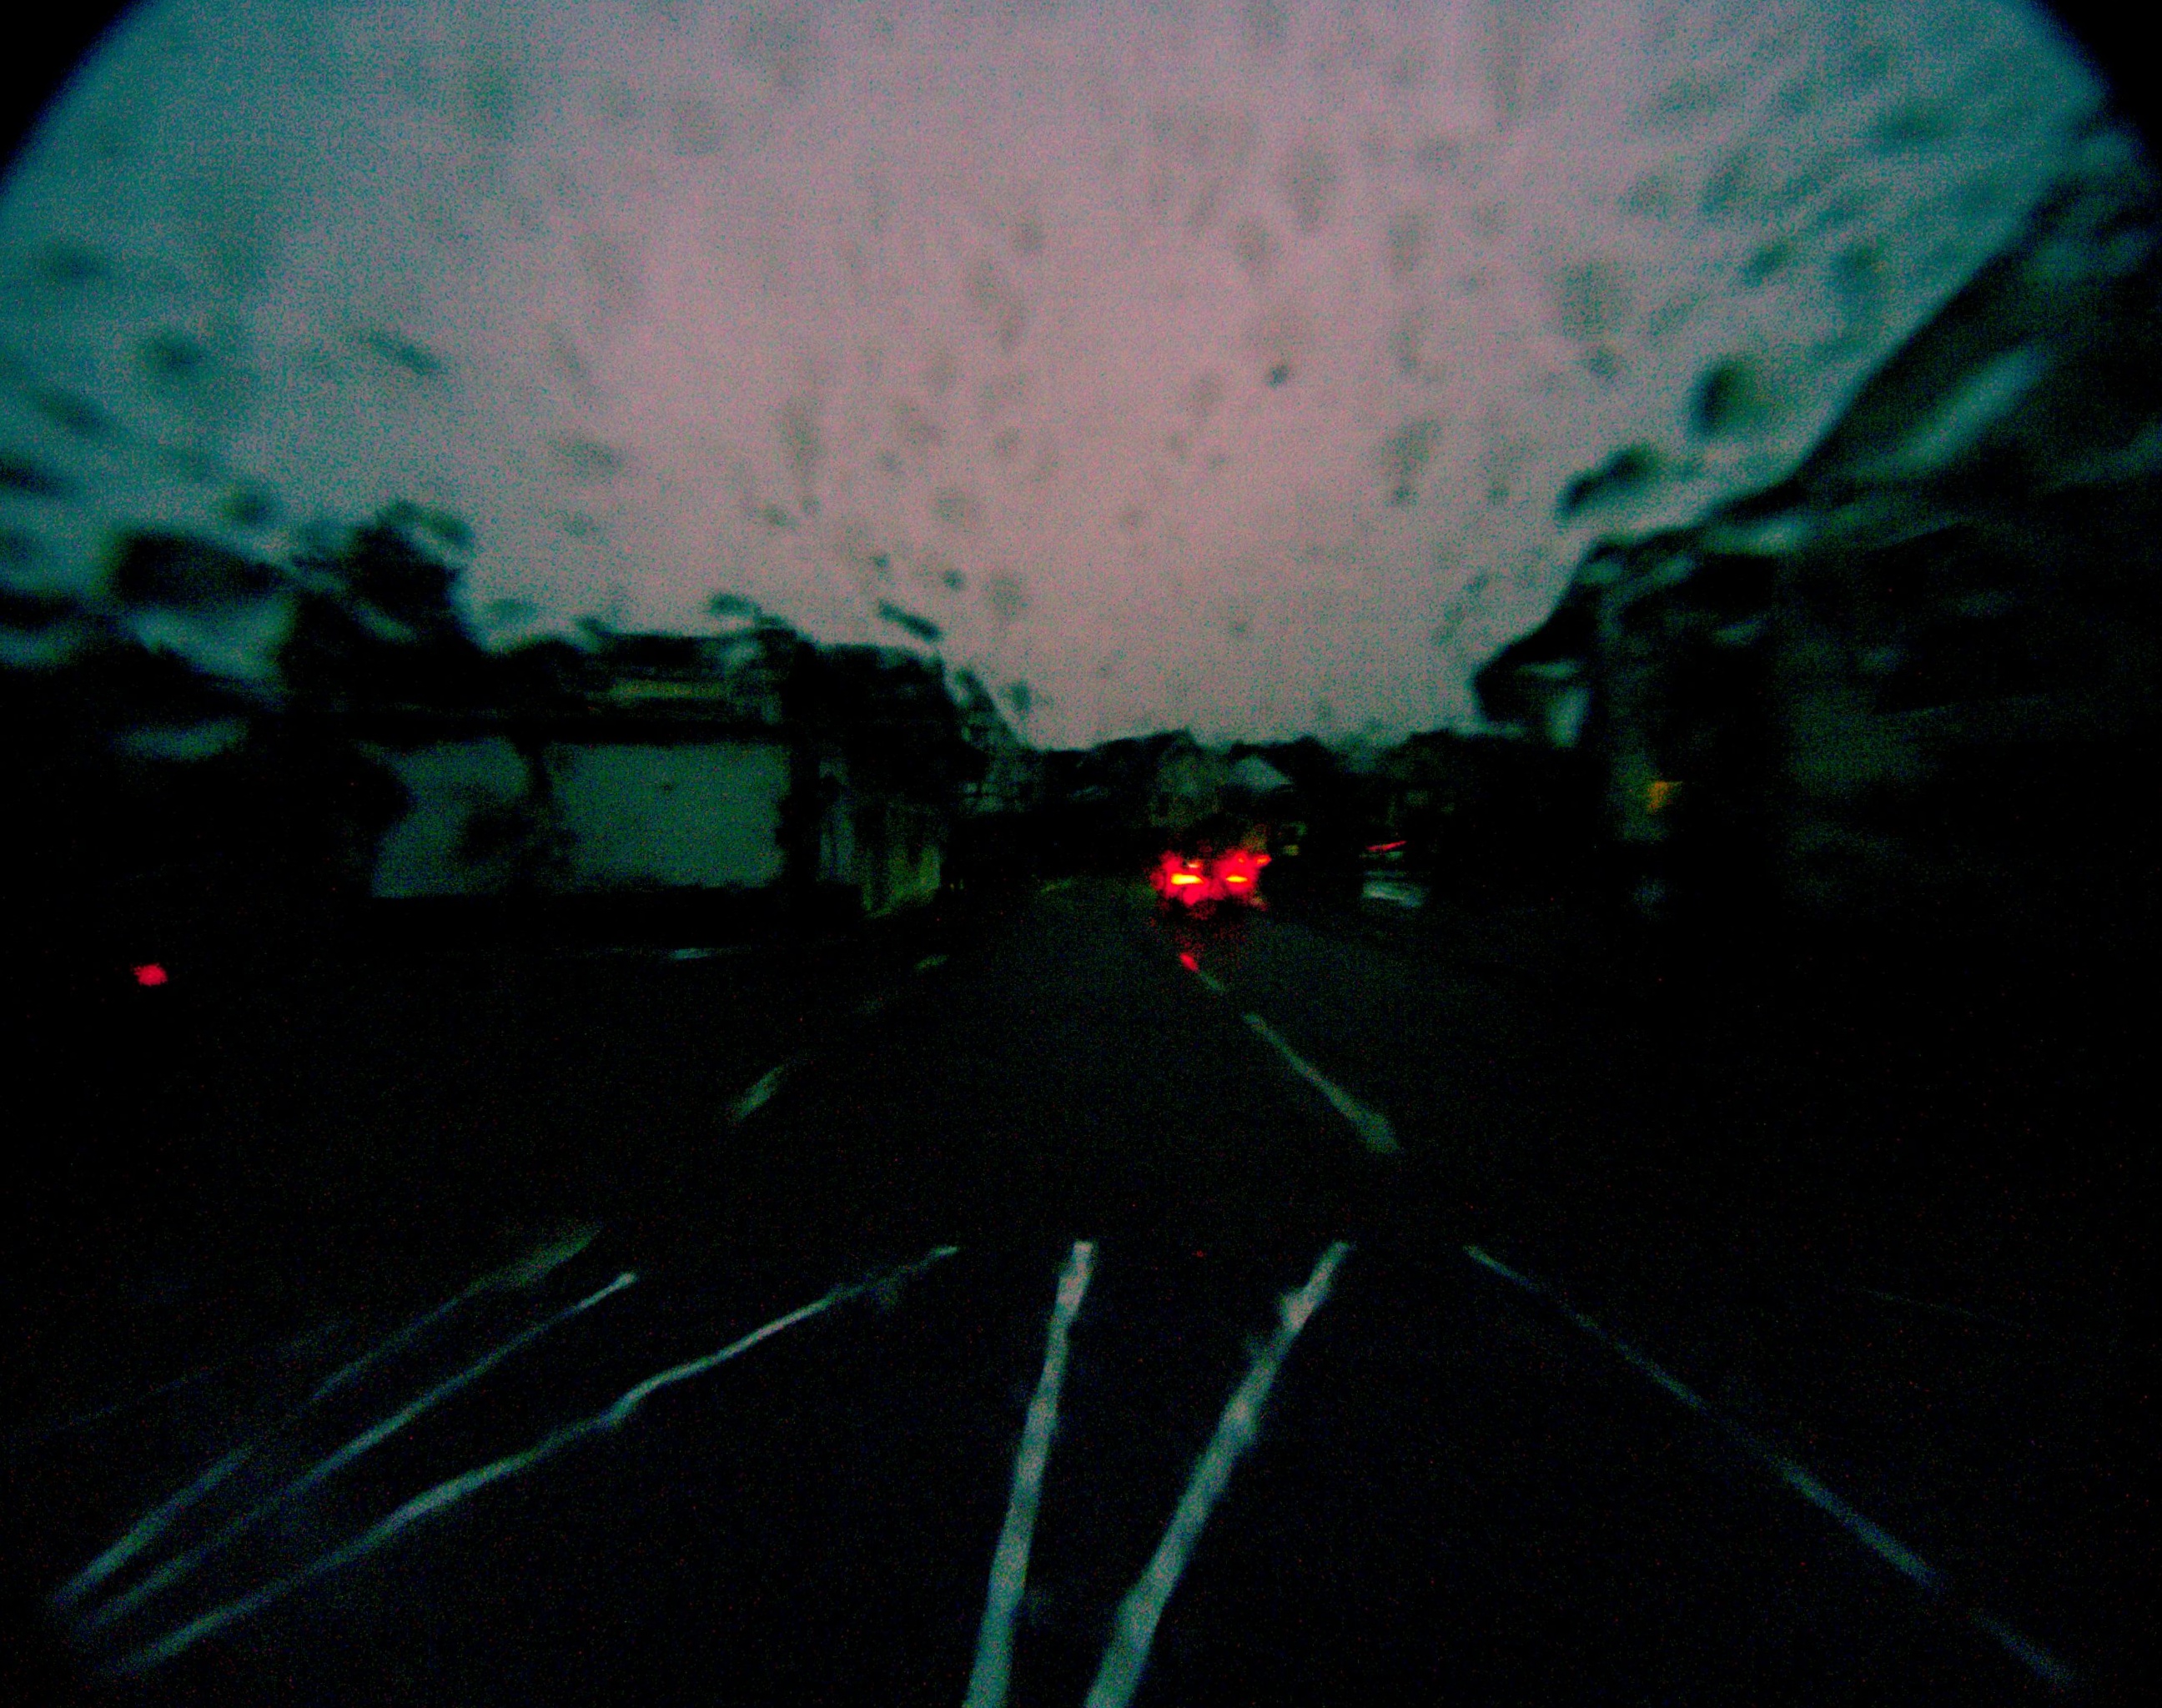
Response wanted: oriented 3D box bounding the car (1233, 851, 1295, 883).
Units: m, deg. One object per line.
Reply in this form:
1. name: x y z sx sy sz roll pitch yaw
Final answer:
1. car: 10.154 0.681 41.966 1.878 1.603 4.611 0 1 34

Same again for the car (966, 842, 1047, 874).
1. car: -4.072 0.217 41.615 3.990 1.507 1.593 3 2 -26

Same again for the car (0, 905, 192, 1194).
1. car: -6.882 1.090 3.230 1.547 1.457 3.704 -1 1 24

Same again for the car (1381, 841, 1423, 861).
1. car: 27.231 -0.273 64.614 1.649 1.498 3.486 -1 4 -9

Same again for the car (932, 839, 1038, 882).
1. car: -4.429 0.310 34.987 4.482 1.651 1.851 3 2 -21

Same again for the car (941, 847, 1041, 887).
1. car: -3.869 0.556 32.527 3.898 1.442 1.884 3 2 -19

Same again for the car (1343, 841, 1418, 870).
1. car: 21.523 0.097 54.616 4.805 2.045 2.058 0 0 -20

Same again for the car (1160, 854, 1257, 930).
1. car: 3.094 0.870 19.173 1.916 1.643 4.001 -2 0 3

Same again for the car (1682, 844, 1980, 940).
1. car: 13.435 0.621 13.716 4.000 1.454 1.819 -2 1 -9

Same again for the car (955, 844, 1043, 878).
1. car: -4.135 0.364 38.143 4.042 1.413 1.811 3 2 -19
